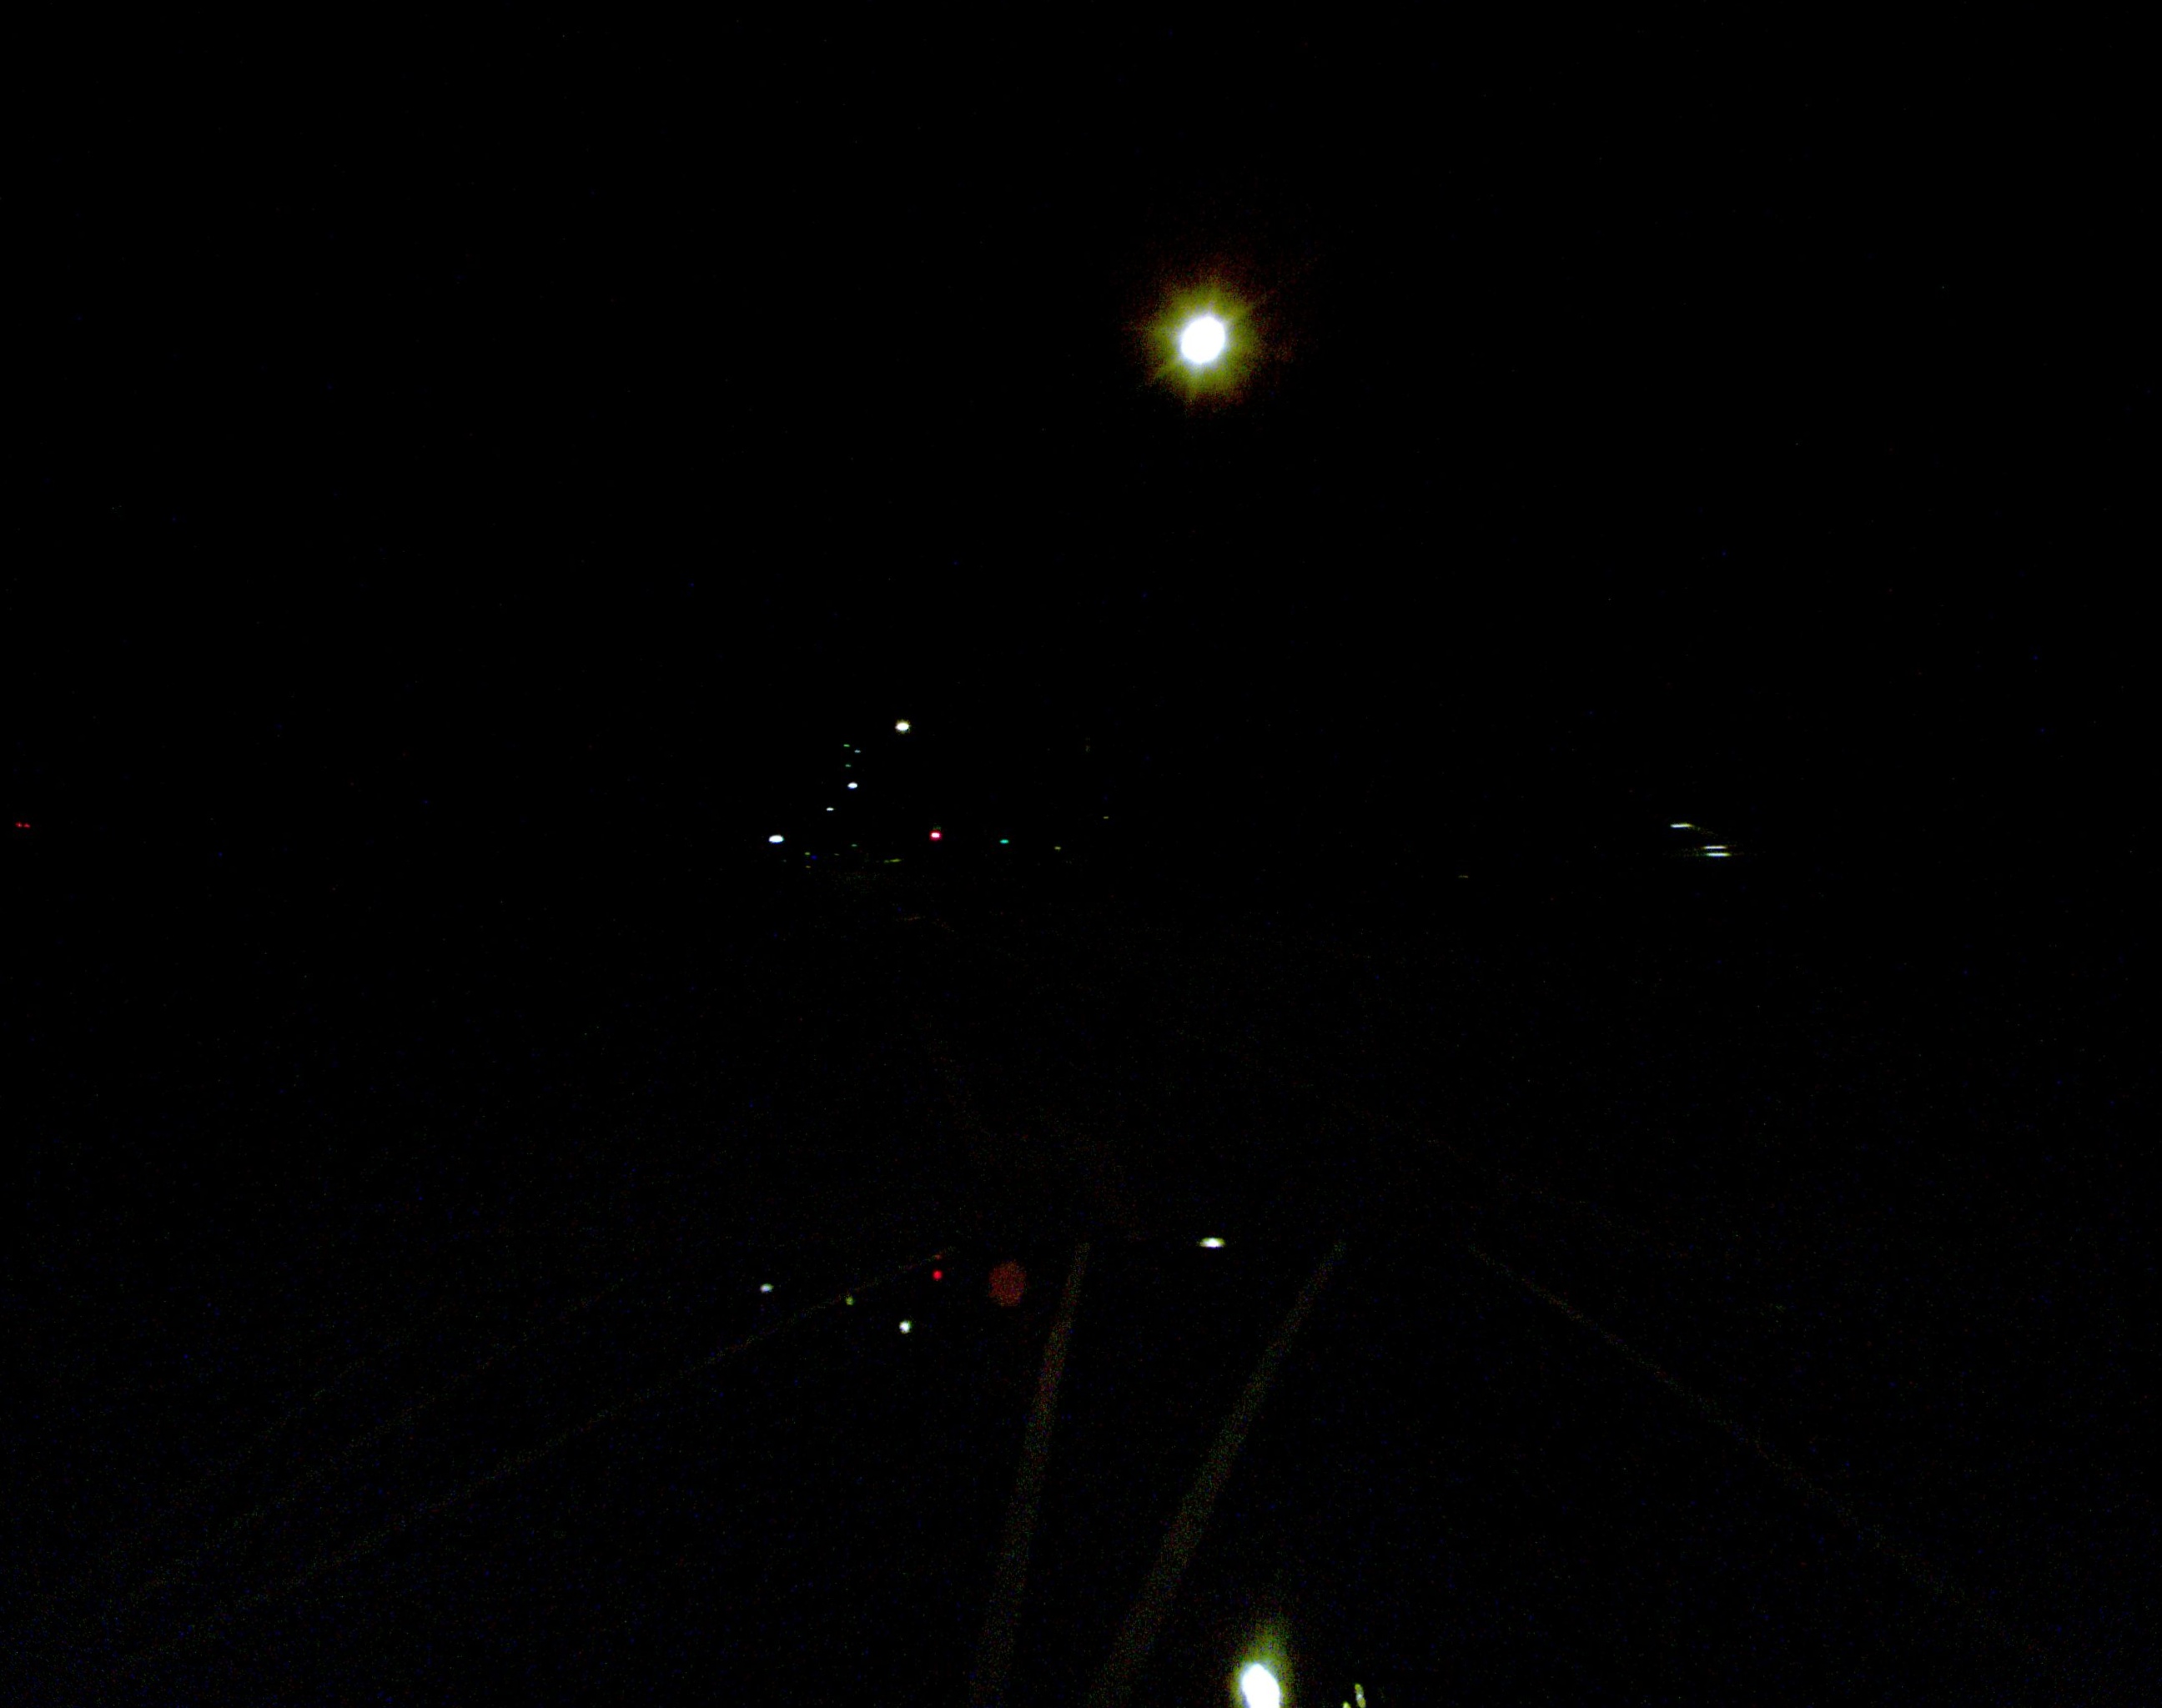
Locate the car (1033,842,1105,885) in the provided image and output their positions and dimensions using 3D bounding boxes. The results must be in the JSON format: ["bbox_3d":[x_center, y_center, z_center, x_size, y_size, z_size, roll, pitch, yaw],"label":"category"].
[{"bbox_3d":[-0.521,0.356,29.278,1.635,1.456,3.508,-4,1,-20],"label":"car"}]

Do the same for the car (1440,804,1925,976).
[{"bbox_3d":[6.733,0.322,9.194,1.557,1.425,4.340,-7,2,-21],"label":"car"}]

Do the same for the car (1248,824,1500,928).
[{"bbox_3d":[5.051,0.333,13.810,1.645,1.425,4.342,-7,2,-22],"label":"car"}]
